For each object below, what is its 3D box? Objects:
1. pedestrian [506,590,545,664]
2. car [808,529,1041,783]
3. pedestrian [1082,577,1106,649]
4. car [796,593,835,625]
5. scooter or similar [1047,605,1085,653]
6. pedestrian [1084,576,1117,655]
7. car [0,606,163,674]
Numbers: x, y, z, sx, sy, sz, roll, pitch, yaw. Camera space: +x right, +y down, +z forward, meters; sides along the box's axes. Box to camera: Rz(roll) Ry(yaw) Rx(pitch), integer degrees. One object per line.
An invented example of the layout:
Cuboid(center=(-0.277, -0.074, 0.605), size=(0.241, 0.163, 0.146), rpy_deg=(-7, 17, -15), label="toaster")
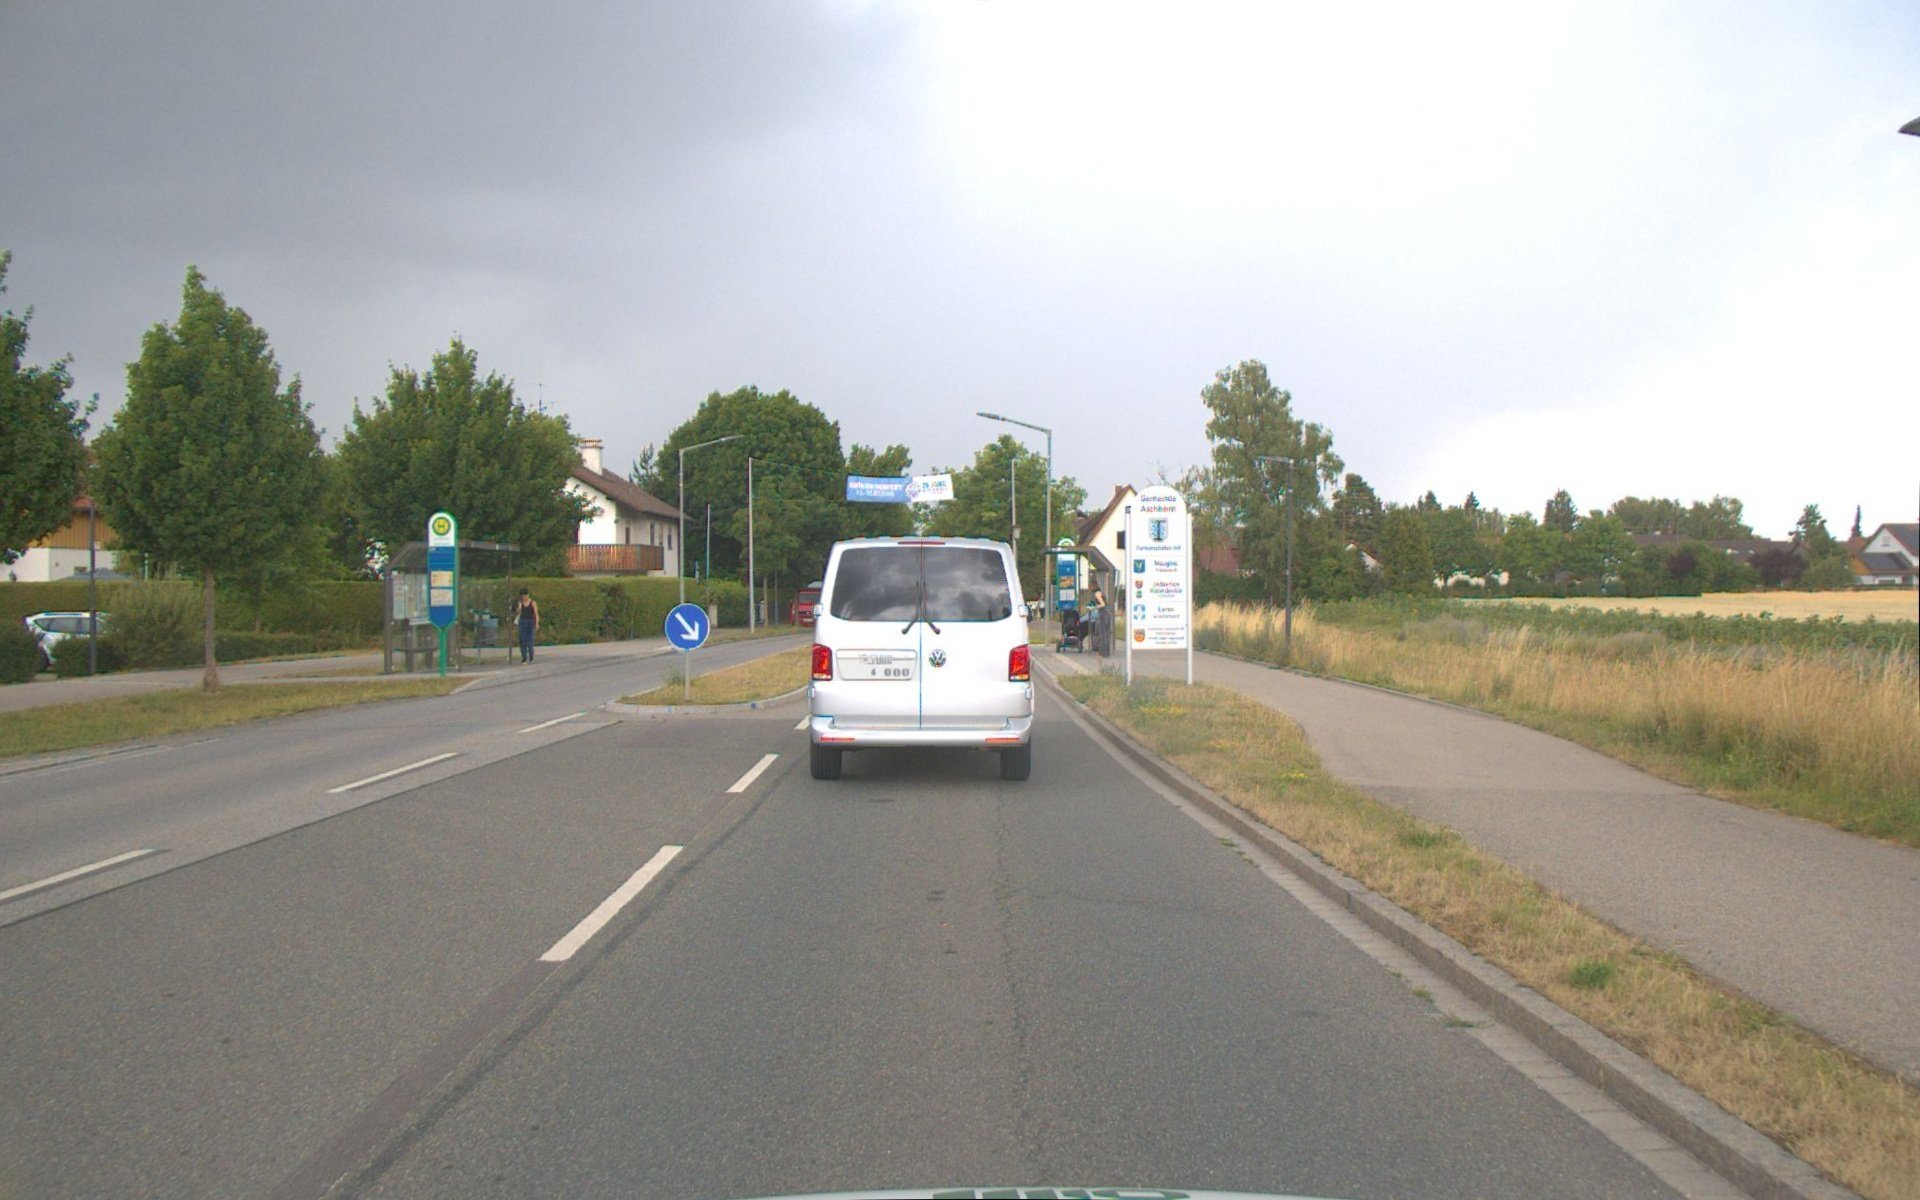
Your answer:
Cuboid(center=(-9.464, 0.581, 36.012), size=(0.611, 1.551, 0.679), rpy_deg=(-2, 0, -1), label="pedestrian")
Cuboid(center=(-0.333, 0.409, 14.702), size=(1.789, 1.947, 3.999), rpy_deg=(0, 0, -2), label="car")
Cuboid(center=(3.341, 0.324, 41.278), size=(0.475, 1.762, 0.642), rpy_deg=(-2, 0, -1), label="pedestrian")
Cuboid(center=(-7.161, 0.437, 82.078), size=(1.620, 1.454, 3.602), rpy_deg=(-2, 1, -1), label="car")
Cuboid(center=(2.610, 0.701, 40.972), size=(0.831, 1.123, 1.094), rpy_deg=(-2, 0, 0), label="scooter or similar")
Cuboid(center=(3.198, 0.345, 37.606), size=(0.626, 1.762, 0.487), rpy_deg=(-2, 0, 11), label="pedestrian")
Cuboid(center=(-23.010, 1.024, 43.186), size=(3.520, 1.555, 1.658), rpy_deg=(-3, 0, -4), label="car")
